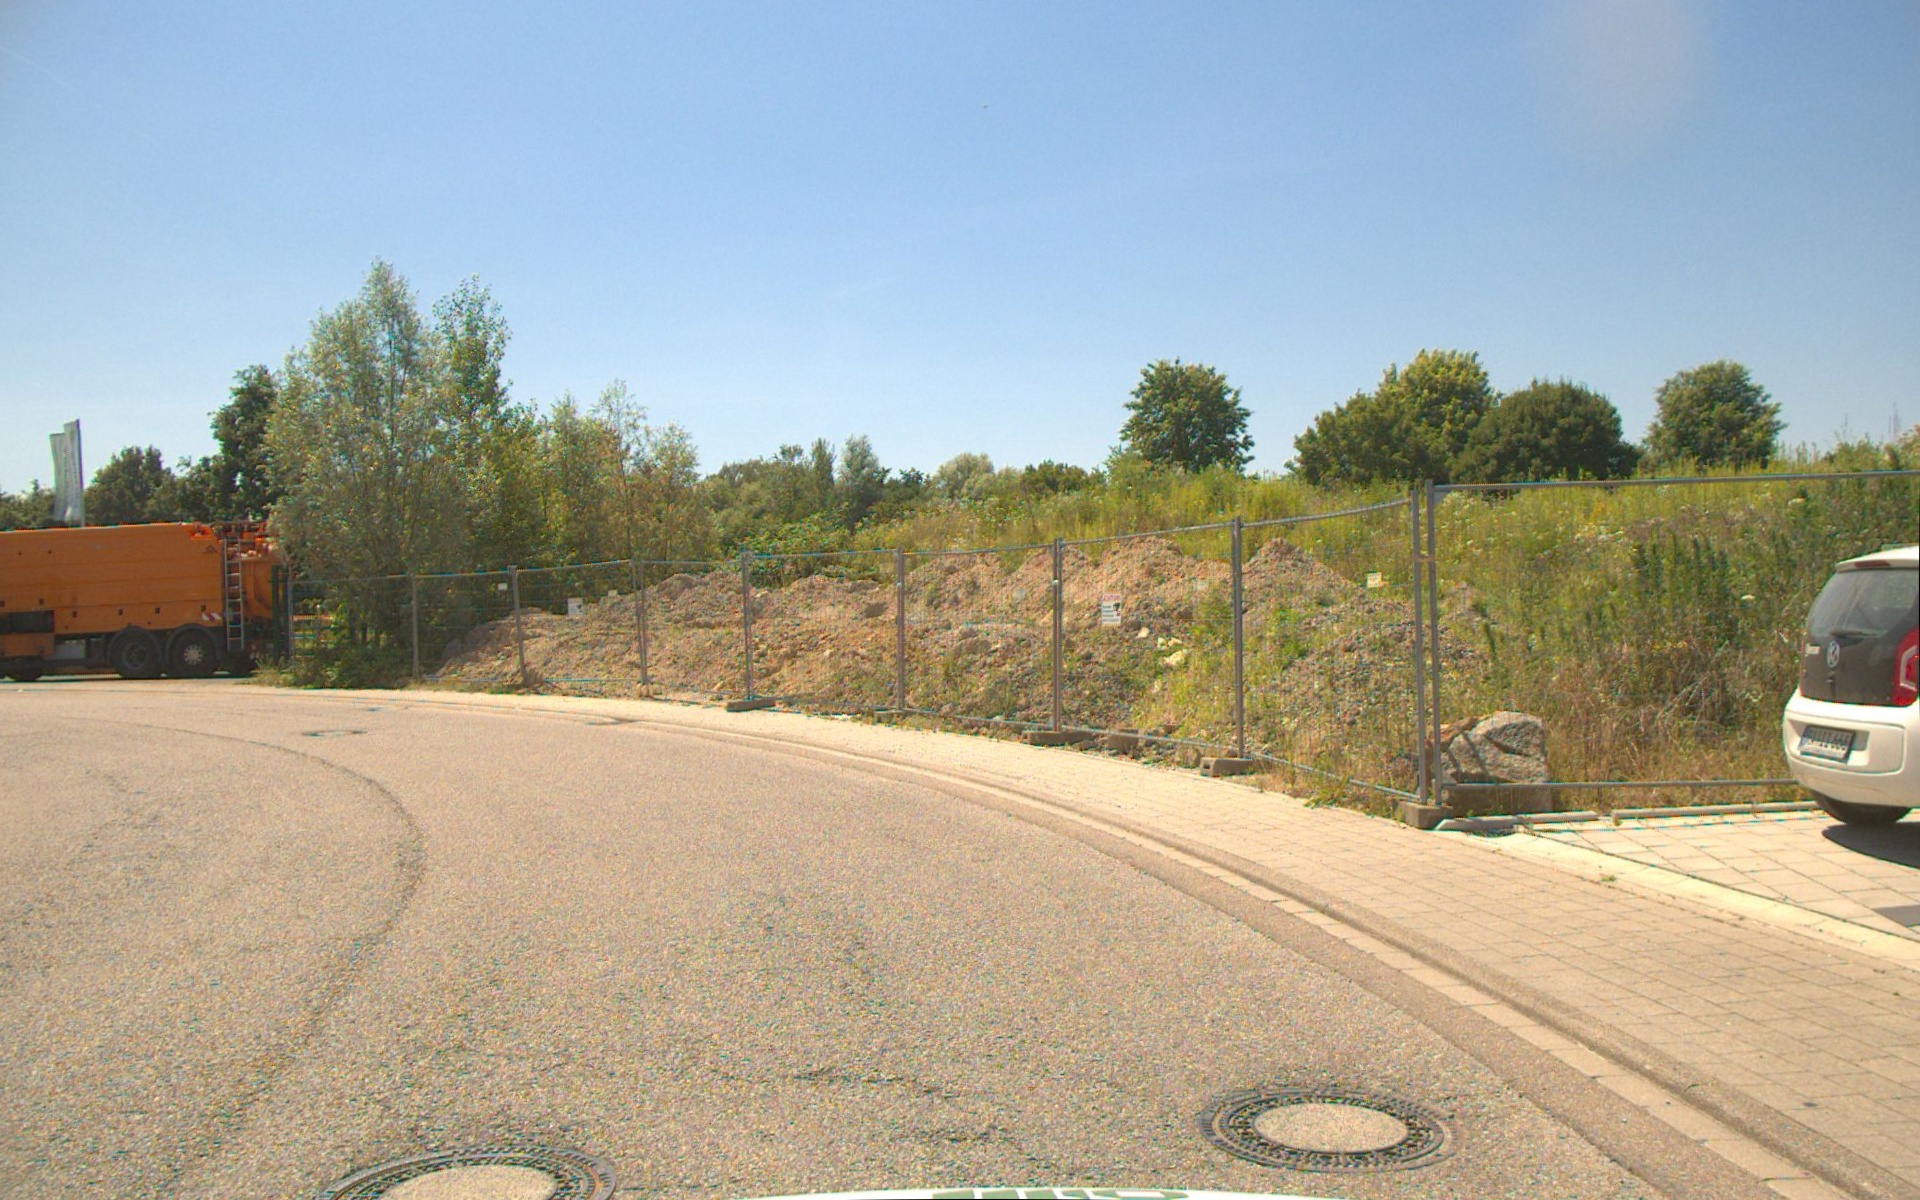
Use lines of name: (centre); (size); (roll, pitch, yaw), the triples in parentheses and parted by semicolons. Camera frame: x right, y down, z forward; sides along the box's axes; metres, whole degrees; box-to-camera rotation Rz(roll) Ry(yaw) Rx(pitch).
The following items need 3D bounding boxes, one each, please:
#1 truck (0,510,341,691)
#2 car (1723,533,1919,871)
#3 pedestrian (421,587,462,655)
truck: (-19.685, 0.027, 39.068); (8.405, 3.872, 4.166); (-2, 0, 2)
car: (6.168, 0.318, 8.110); (3.926, 1.487, 1.894); (-4, 0, 5)
pedestrian: (-14.471, 0.575, 46.157); (0.857, 1.856, 0.740); (-1, 0, 4)
